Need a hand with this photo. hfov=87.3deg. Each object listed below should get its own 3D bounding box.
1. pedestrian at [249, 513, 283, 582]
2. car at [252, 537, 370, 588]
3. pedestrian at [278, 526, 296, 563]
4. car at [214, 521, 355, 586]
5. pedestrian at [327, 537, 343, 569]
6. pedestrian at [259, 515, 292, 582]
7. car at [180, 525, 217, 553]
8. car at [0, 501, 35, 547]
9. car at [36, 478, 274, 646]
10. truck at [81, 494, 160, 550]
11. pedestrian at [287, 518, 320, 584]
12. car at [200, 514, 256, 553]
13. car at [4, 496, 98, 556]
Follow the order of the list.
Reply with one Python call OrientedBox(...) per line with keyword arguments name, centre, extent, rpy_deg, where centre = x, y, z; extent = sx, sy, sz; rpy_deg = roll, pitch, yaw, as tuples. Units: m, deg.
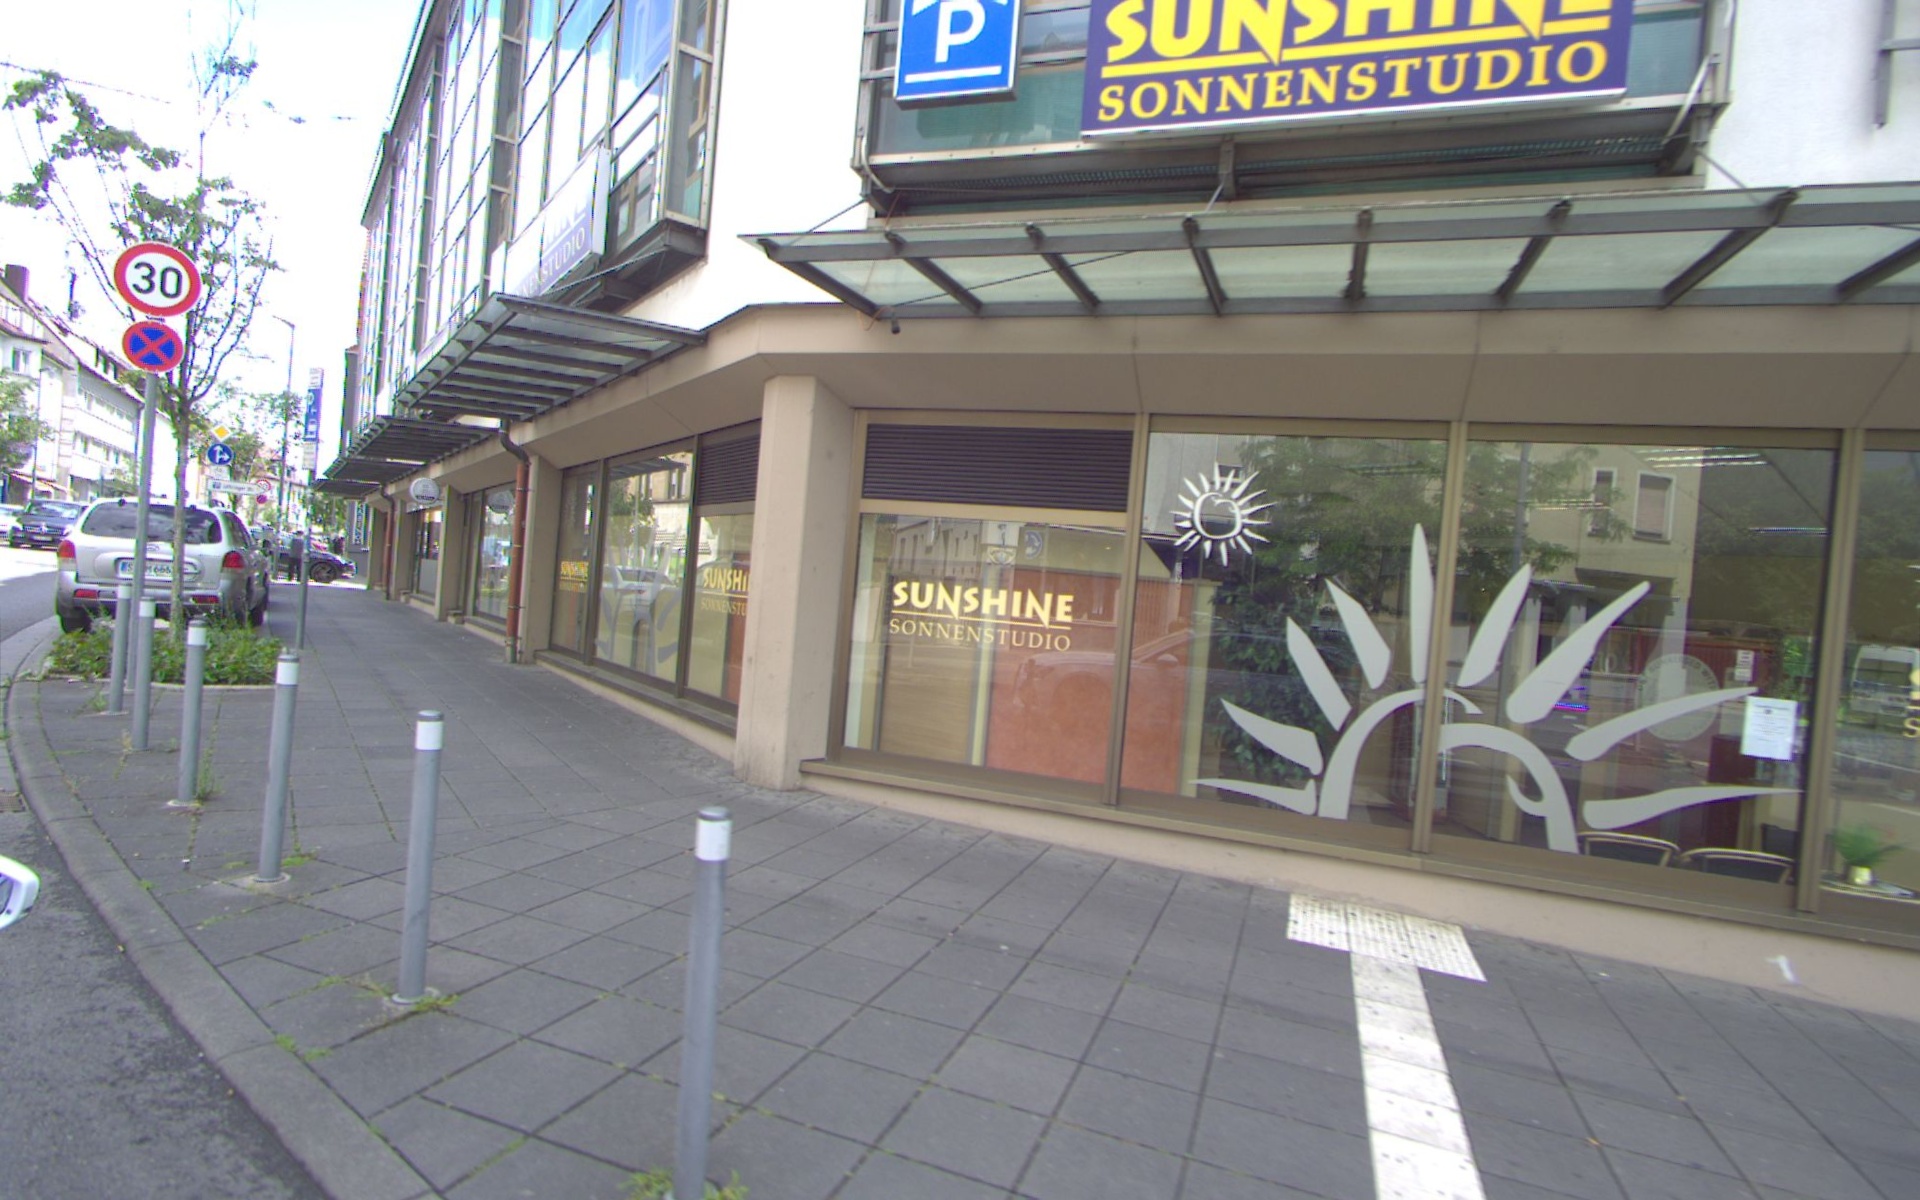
OrientedBox(name="pedestrian", centre=(-21.552, -1.623, 31.247), extent=(0.685, 2.039, 0.716), rpy_deg=(5, 0, -39))
OrientedBox(name="car", centre=(-24.675, -1.413, 38.301), extent=(3.600, 1.429, 1.575), rpy_deg=(8, -2, -36))
OrientedBox(name="pedestrian", centre=(-39.185, -3.212, 58.575), extent=(0.677, 2.038, 0.594), rpy_deg=(6, 0, -31))
OrientedBox(name="car", centre=(-23.951, -1.622, 35.838), extent=(3.959, 1.728, 1.661), rpy_deg=(8, -2, -32))
OrientedBox(name="pedestrian", centre=(-41.799, -3.151, 67.272), extent=(0.678, 2.038, 0.593), rpy_deg=(6, 0, -37))
OrientedBox(name="pedestrian", centre=(-21.922, -1.654, 32.223), extent=(0.685, 2.039, 0.716), rpy_deg=(5, 0, -39))
OrientedBox(name="car", centre=(-50.469, -4.035, 66.700), extent=(1.687, 1.604, 3.920), rpy_deg=(6, 0, -35))
OrientedBox(name="car", centre=(-39.564, -3.202, 41.442), extent=(1.701, 1.734, 3.958), rpy_deg=(6, 0, -38))
OrientedBox(name="car", centre=(-10.350, -0.477, 13.269), extent=(1.810, 1.753, 4.199), rpy_deg=(4, 0, -31))
OrientedBox(name="truck", centre=(-38.899, -3.580, 46.739), extent=(2.051, 2.193, 5.248), rpy_deg=(5, 1, -33))
OrientedBox(name="pedestrian", centre=(-21.462, -1.602, 32.864), extent=(0.685, 2.039, 0.716), rpy_deg=(5, 0, -39))
OrientedBox(name="car", centre=(-40.476, -3.661, 55.722), extent=(1.956, 1.899, 4.996), rpy_deg=(5, 1, -31))
OrientedBox(name="car", centre=(-33.441, -2.693, 37.118), extent=(1.822, 1.858, 4.529), rpy_deg=(5, 0, -34))
